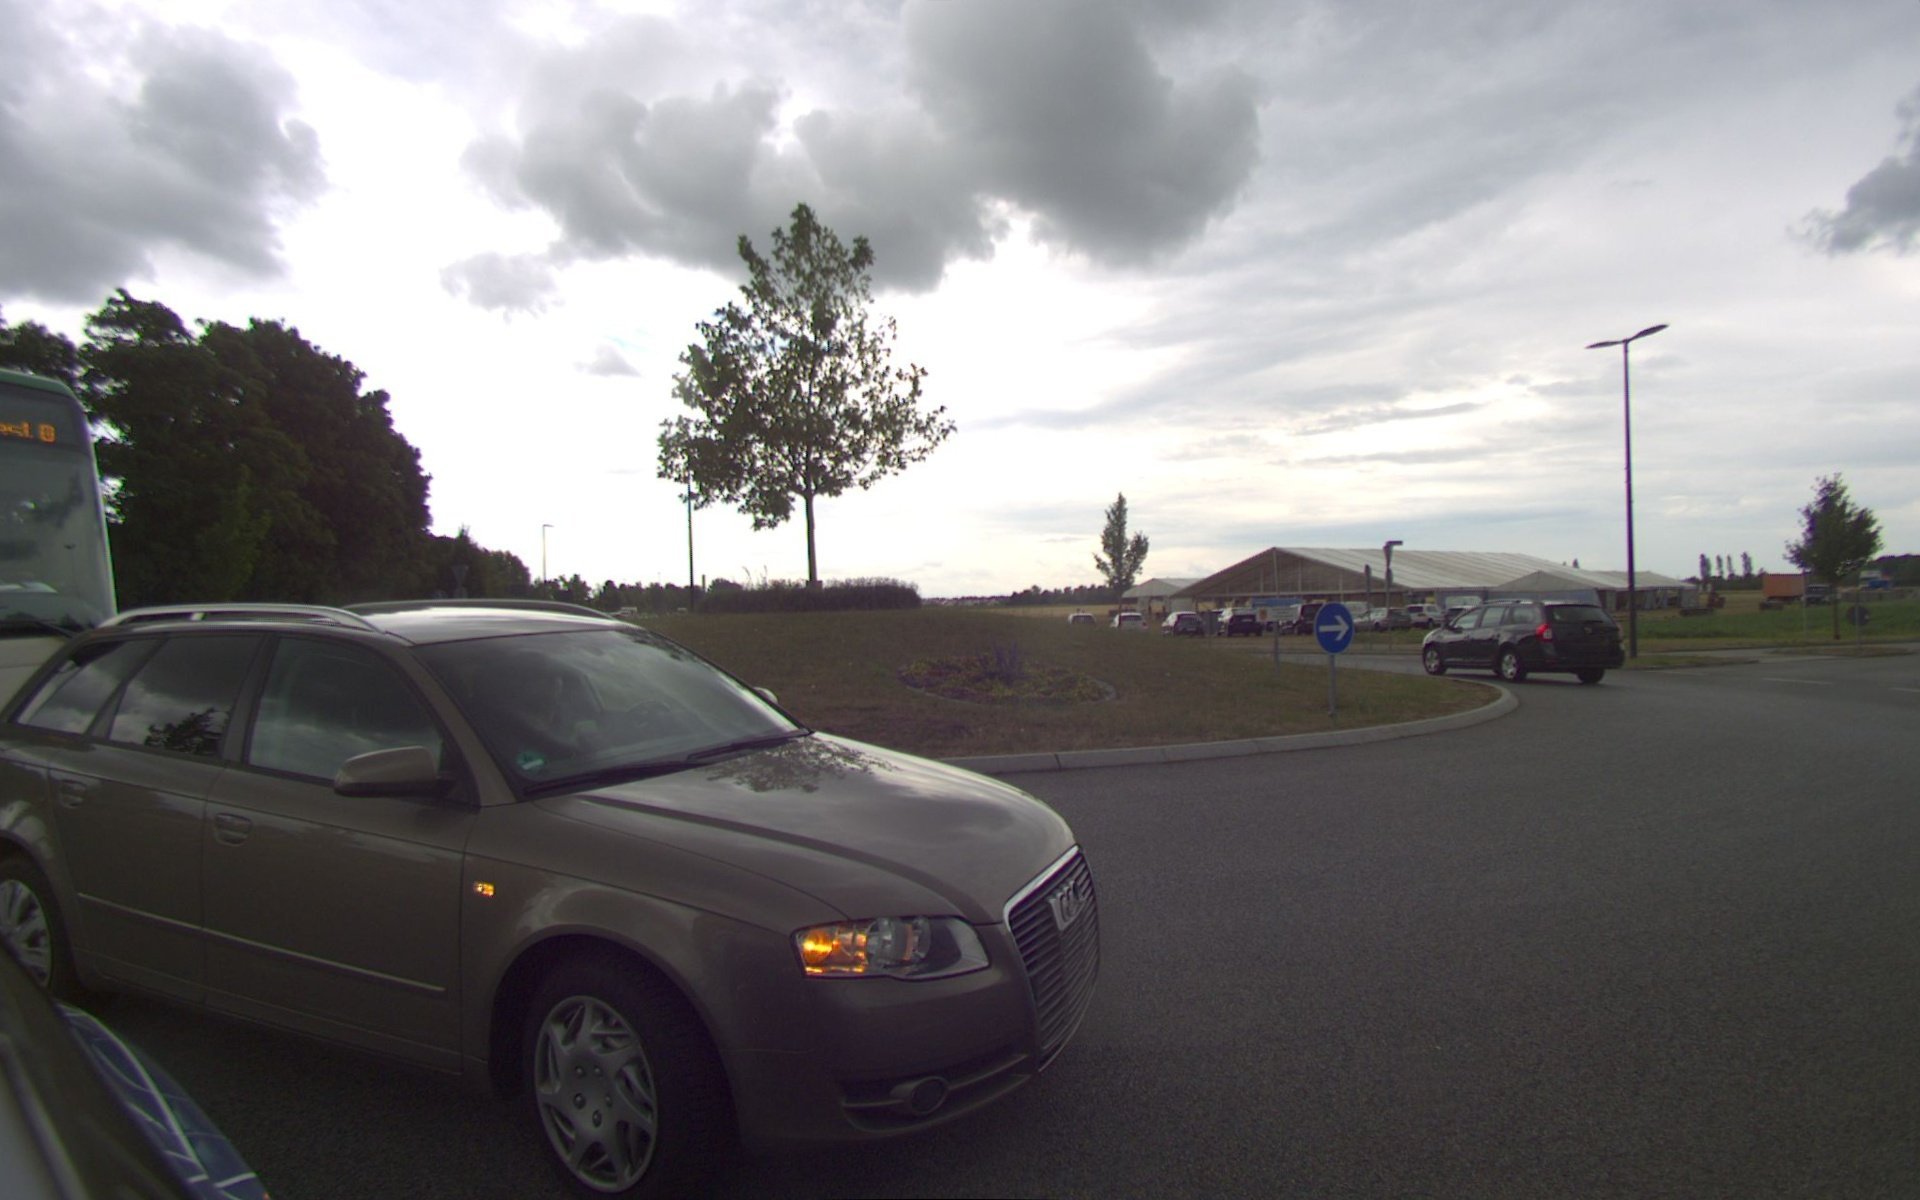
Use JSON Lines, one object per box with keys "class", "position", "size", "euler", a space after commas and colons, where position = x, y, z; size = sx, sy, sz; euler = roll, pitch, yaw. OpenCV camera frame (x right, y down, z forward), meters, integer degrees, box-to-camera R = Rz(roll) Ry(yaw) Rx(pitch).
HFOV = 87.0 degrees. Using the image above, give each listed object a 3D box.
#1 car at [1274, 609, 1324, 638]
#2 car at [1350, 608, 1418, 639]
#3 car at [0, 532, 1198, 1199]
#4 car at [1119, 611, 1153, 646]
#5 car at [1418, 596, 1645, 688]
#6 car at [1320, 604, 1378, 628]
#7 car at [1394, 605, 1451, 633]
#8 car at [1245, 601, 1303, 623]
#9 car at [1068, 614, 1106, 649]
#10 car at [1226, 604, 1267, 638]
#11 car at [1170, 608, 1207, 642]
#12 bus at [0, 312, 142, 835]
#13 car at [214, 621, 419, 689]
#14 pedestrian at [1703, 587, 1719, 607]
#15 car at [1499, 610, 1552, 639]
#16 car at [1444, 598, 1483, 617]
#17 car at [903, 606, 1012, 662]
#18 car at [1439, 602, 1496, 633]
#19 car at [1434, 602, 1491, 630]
{"class": "car", "position": [18.148, 1.243, 54.409], "size": [1.930, 1.453, 3.987], "euler": [-2, 0, 10]}
{"class": "car", "position": [23.779, 1.298, 56.898], "size": [1.707, 1.619, 3.883], "euler": [-1, -1, -8]}
{"class": "car", "position": [-1.607, 0.678, 3.577], "size": [4.514, 1.476, 1.769], "euler": [-1, -2, 25]}
{"class": "car", "position": [9.545, 1.509, 54.779], "size": [1.698, 1.564, 3.987], "euler": [-4, 1, 11]}
{"class": "car", "position": [10.817, 0.746, 19.566], "size": [1.747, 1.575, 4.283], "euler": [0, -1, -4]}
{"class": "car", "position": [25.554, 1.037, 66.505], "size": [3.939, 1.453, 1.954], "euler": [-1, -1, -42]}
{"class": "car", "position": [29.217, 1.190, 63.896], "size": [3.770, 1.619, 1.838], "euler": [-1, -1, -41]}
{"class": "car", "position": [22.819, 0.901, 73.500], "size": [3.933, 1.453, 1.957], "euler": [-1, -1, -33]}
{"class": "car", "position": [6.924, 1.686, 54.952], "size": [1.698, 1.564, 3.987], "euler": [-4, 1, 11]}
{"class": "car", "position": [15.533, 1.095, 55.042], "size": [1.698, 1.564, 3.987], "euler": [-4, 1, 11]}
{"class": "car", "position": [12.328, 1.318, 54.833], "size": [1.698, 1.564, 3.987], "euler": [-4, 1, 11]}
{"class": "bus", "position": [-9.276, -0.140, 6.532], "size": [6.476, 3.282, 2.518], "euler": [0, 2, 10]}
{"class": "car", "position": [-16.105, 1.317, 25.489], "size": [1.761, 1.441, 4.028], "euler": [-2, 0, 40]}
{"class": "pedestrian", "position": [78.469, -0.303, 105.711], "size": [1.043, 2.029, 1.054], "euler": [-1, -1, -37]}
{"class": "car", "position": [33.623, 1.460, 60.132], "size": [1.732, 1.565, 3.942], "euler": [-2, -1, 44]}
{"class": "car", "position": [45.629, 0.644, 91.638], "size": [3.770, 1.619, 1.838], "euler": [-1, -1, -41]}
{"class": "car", "position": [-0.081, 1.200, 35.862], "size": [3.382, 1.528, 1.620], "euler": [-4, 6, 27]}
{"class": "car", "position": [28.025, 0.925, 55.982], "size": [1.617, 1.619, 3.866], "euler": [-2, -1, 8]}
{"class": "car", "position": [30.750, 0.959, 61.901], "size": [3.770, 1.619, 1.838], "euler": [-1, -1, -41]}
